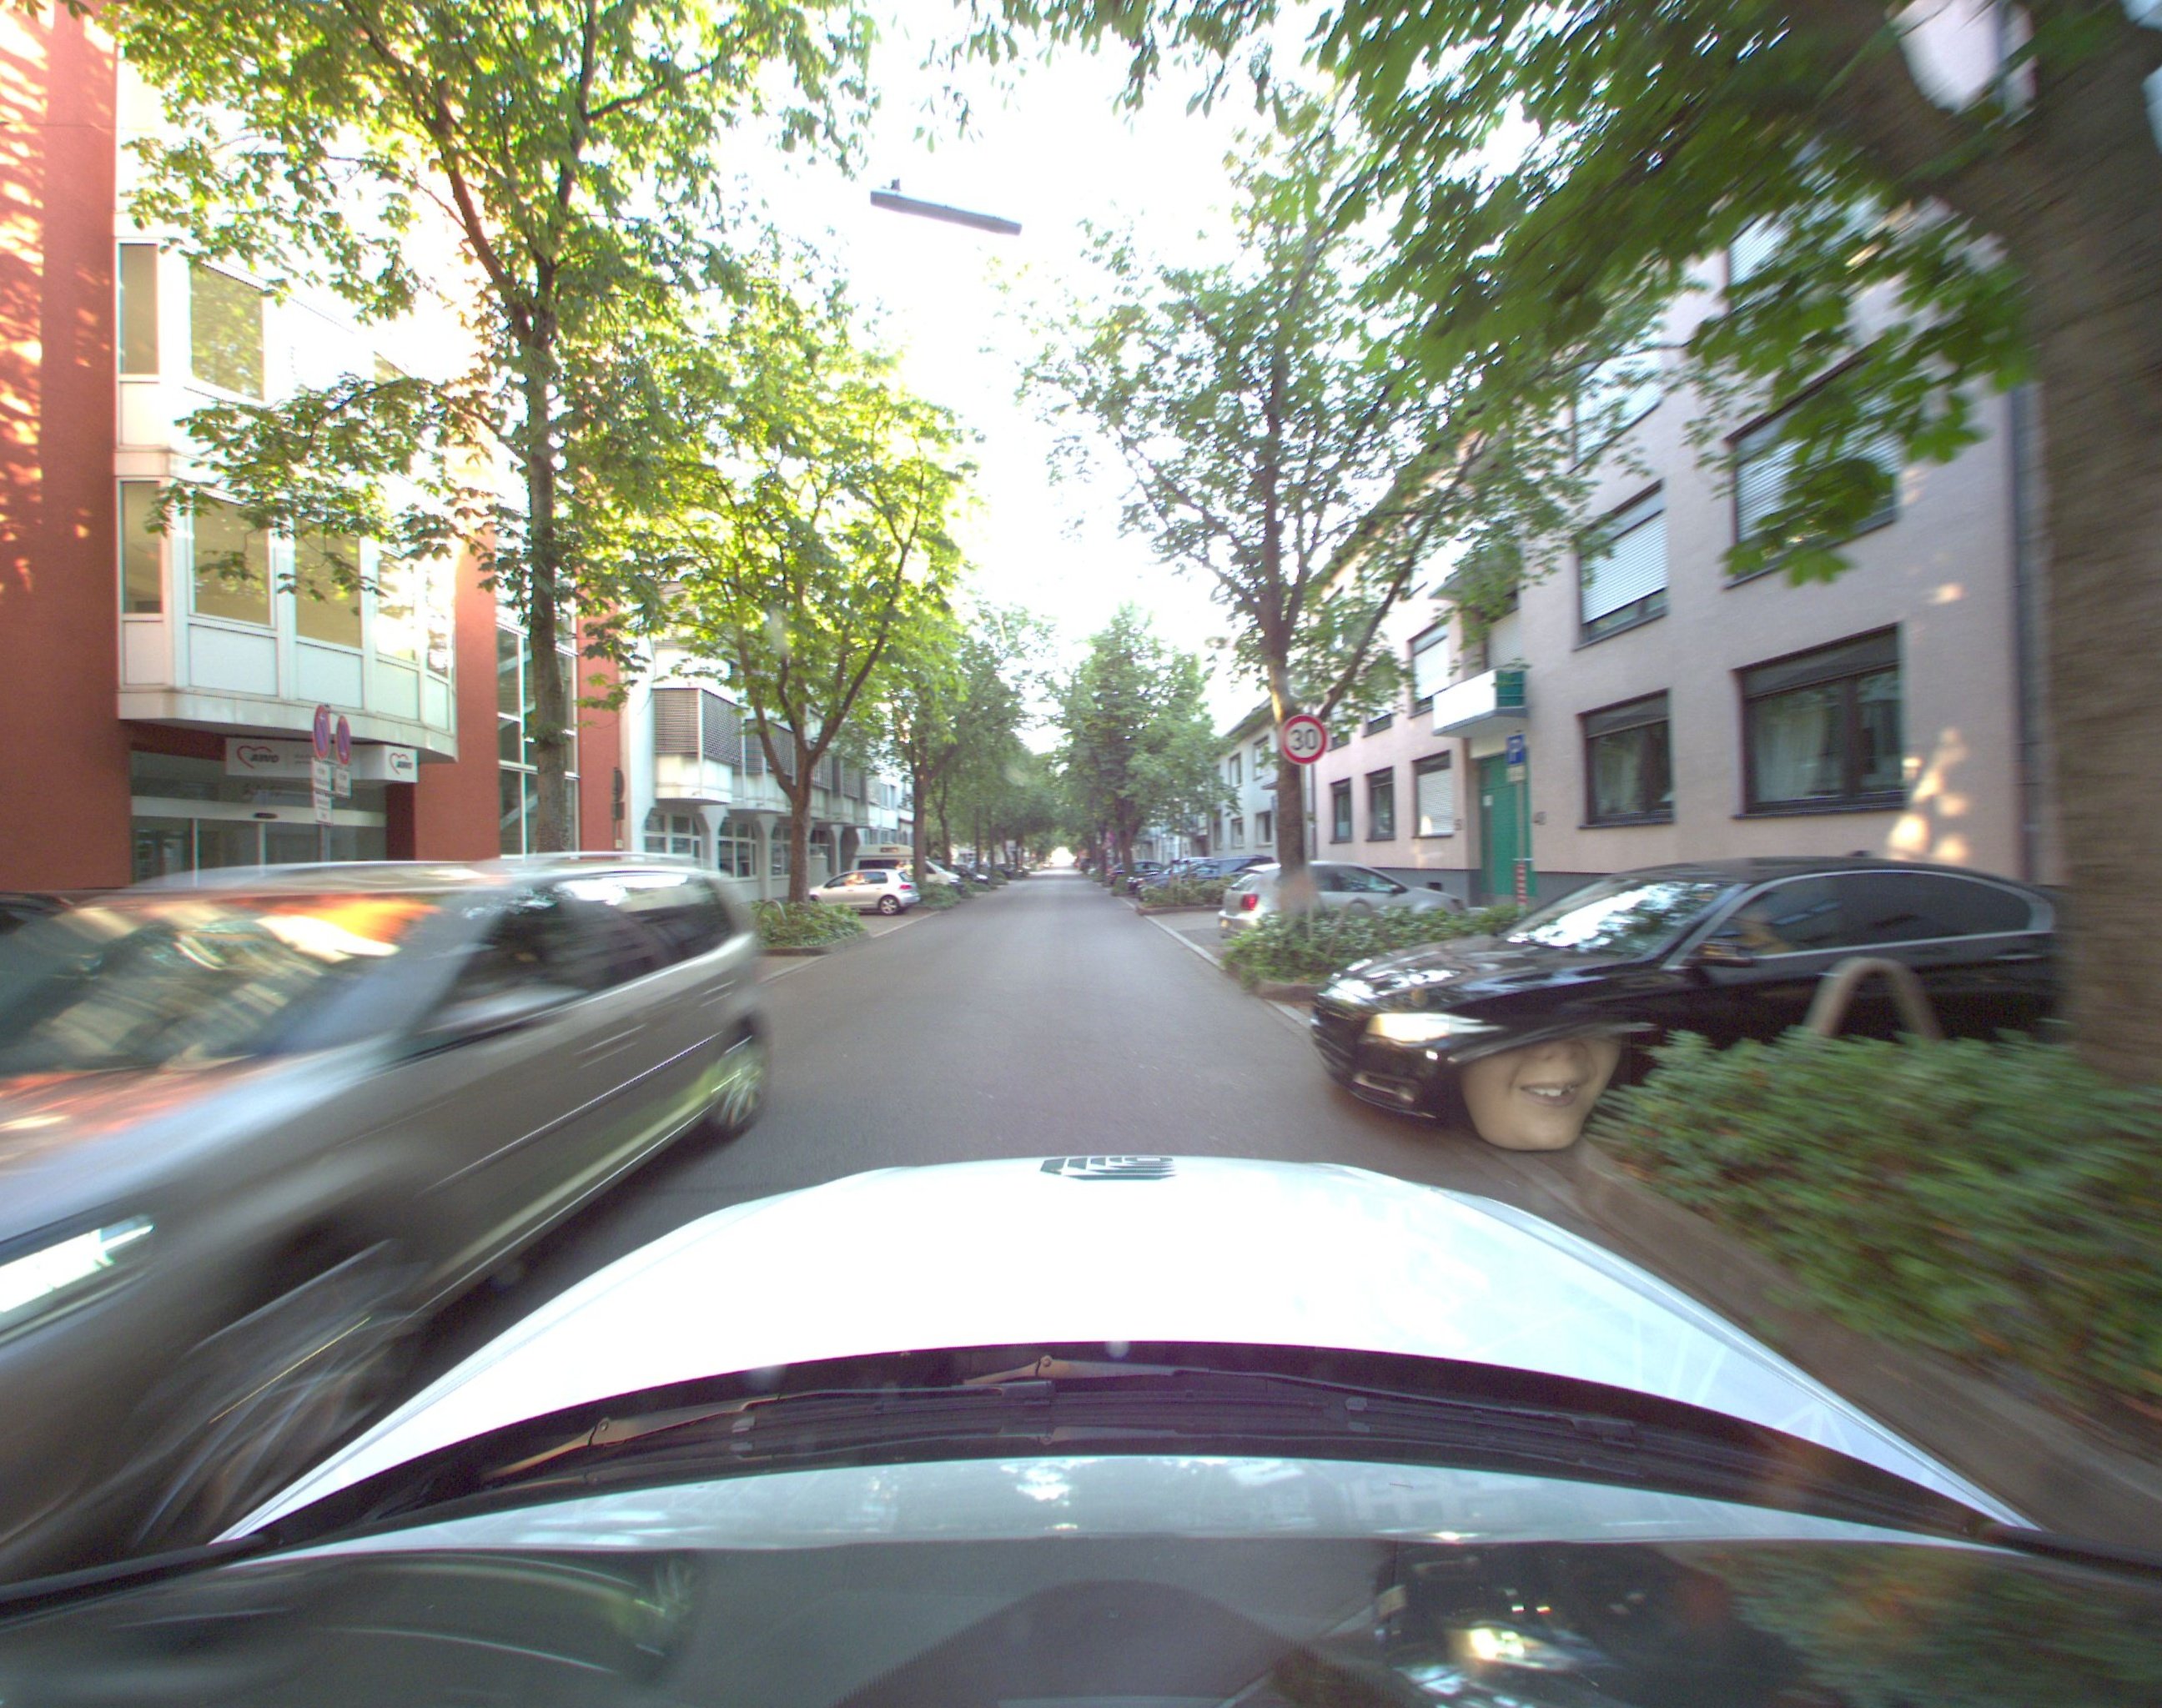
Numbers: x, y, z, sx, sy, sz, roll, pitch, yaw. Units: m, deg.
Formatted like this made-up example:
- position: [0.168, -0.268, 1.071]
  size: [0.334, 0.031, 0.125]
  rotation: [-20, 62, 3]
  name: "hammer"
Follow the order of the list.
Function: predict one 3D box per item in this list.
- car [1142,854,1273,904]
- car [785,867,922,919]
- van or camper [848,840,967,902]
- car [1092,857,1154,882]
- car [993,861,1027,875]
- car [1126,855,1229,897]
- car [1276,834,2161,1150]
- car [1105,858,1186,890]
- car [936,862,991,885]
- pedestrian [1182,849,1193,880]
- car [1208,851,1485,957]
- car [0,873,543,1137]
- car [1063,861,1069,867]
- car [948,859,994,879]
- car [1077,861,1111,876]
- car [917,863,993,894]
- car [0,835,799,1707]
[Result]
- position: [4.086, 0.806, 26.795]
  size: [3.959, 1.477, 1.783]
  rotation: [-2, -1, -4]
  name: "car"
- position: [-7.386, 1.237, 26.756]
  size: [3.956, 1.517, 1.784]
  rotation: [-2, -1, -1]
  name: "car"
- position: [-7.388, 0.720, 35.113]
  size: [4.651, 2.478, 1.999]
  rotation: [-2, -1, -2]
  name: "van or camper"
- position: [2.751, 1.013, 54.180]
  size: [3.959, 1.527, 1.783]
  rotation: [-2, -1, -3]
  name: "car"
- position: [-8.753, 1.738, 100.283]
  size: [3.955, 1.619, 1.784]
  rotation: [-2, -1, -1]
  name: "car"
- position: [3.891, 0.882, 33.323]
  size: [3.958, 1.527, 1.784]
  rotation: [-2, -1, -2]
  name: "car"
- position: [3.810, 0.690, 5.067]
  size: [4.732, 1.480, 1.799]
  rotation: [-2, -1, -2]
  name: "car"
- position: [3.306, 1.017, 42.217]
  size: [3.958, 1.527, 1.784]
  rotation: [-2, -1, -2]
  name: "car"
- position: [-9.018, 1.488, 62.812]
  size: [3.955, 1.619, 1.784]
  rotation: [-2, -1, -1]
  name: "car"
- position: [6.833, 0.673, 52.363]
  size: [0.587, 2.014, 0.669]
  rotation: [-1, -1, 0]
  name: "pedestrian"
- position: [4.165, 0.757, 13.137]
  size: [3.900, 1.477, 1.663]
  rotation: [-2, -1, -4]
  name: "car"
- position: [-6.675, 0.972, 5.858]
  size: [4.343, 1.517, 1.784]
  rotation: [-2, -1, -2]
  name: "car"
- position: [-4.464, 2.980, 239.849]
  size: [1.817, 1.531, 3.998]
  rotation: [0, -1, -1]
  name: "car"
- position: [-10.053, 1.368, 74.537]
  size: [3.955, 1.619, 1.784]
  rotation: [-2, -1, -1]
  name: "car"
- position: [1.554, 1.703, 98.412]
  size: [3.955, 1.684, 1.784]
  rotation: [-2, -1, -1]
  name: "car"
- position: [-7.102, 1.351, 46.123]
  size: [3.956, 1.619, 1.784]
  rotation: [-2, -1, -1]
  name: "car"
- position: [-2.778, 0.784, 3.354]
  size: [1.774, 1.562, 4.166]
  rotation: [-2, 0, -1]
  name: "car"
